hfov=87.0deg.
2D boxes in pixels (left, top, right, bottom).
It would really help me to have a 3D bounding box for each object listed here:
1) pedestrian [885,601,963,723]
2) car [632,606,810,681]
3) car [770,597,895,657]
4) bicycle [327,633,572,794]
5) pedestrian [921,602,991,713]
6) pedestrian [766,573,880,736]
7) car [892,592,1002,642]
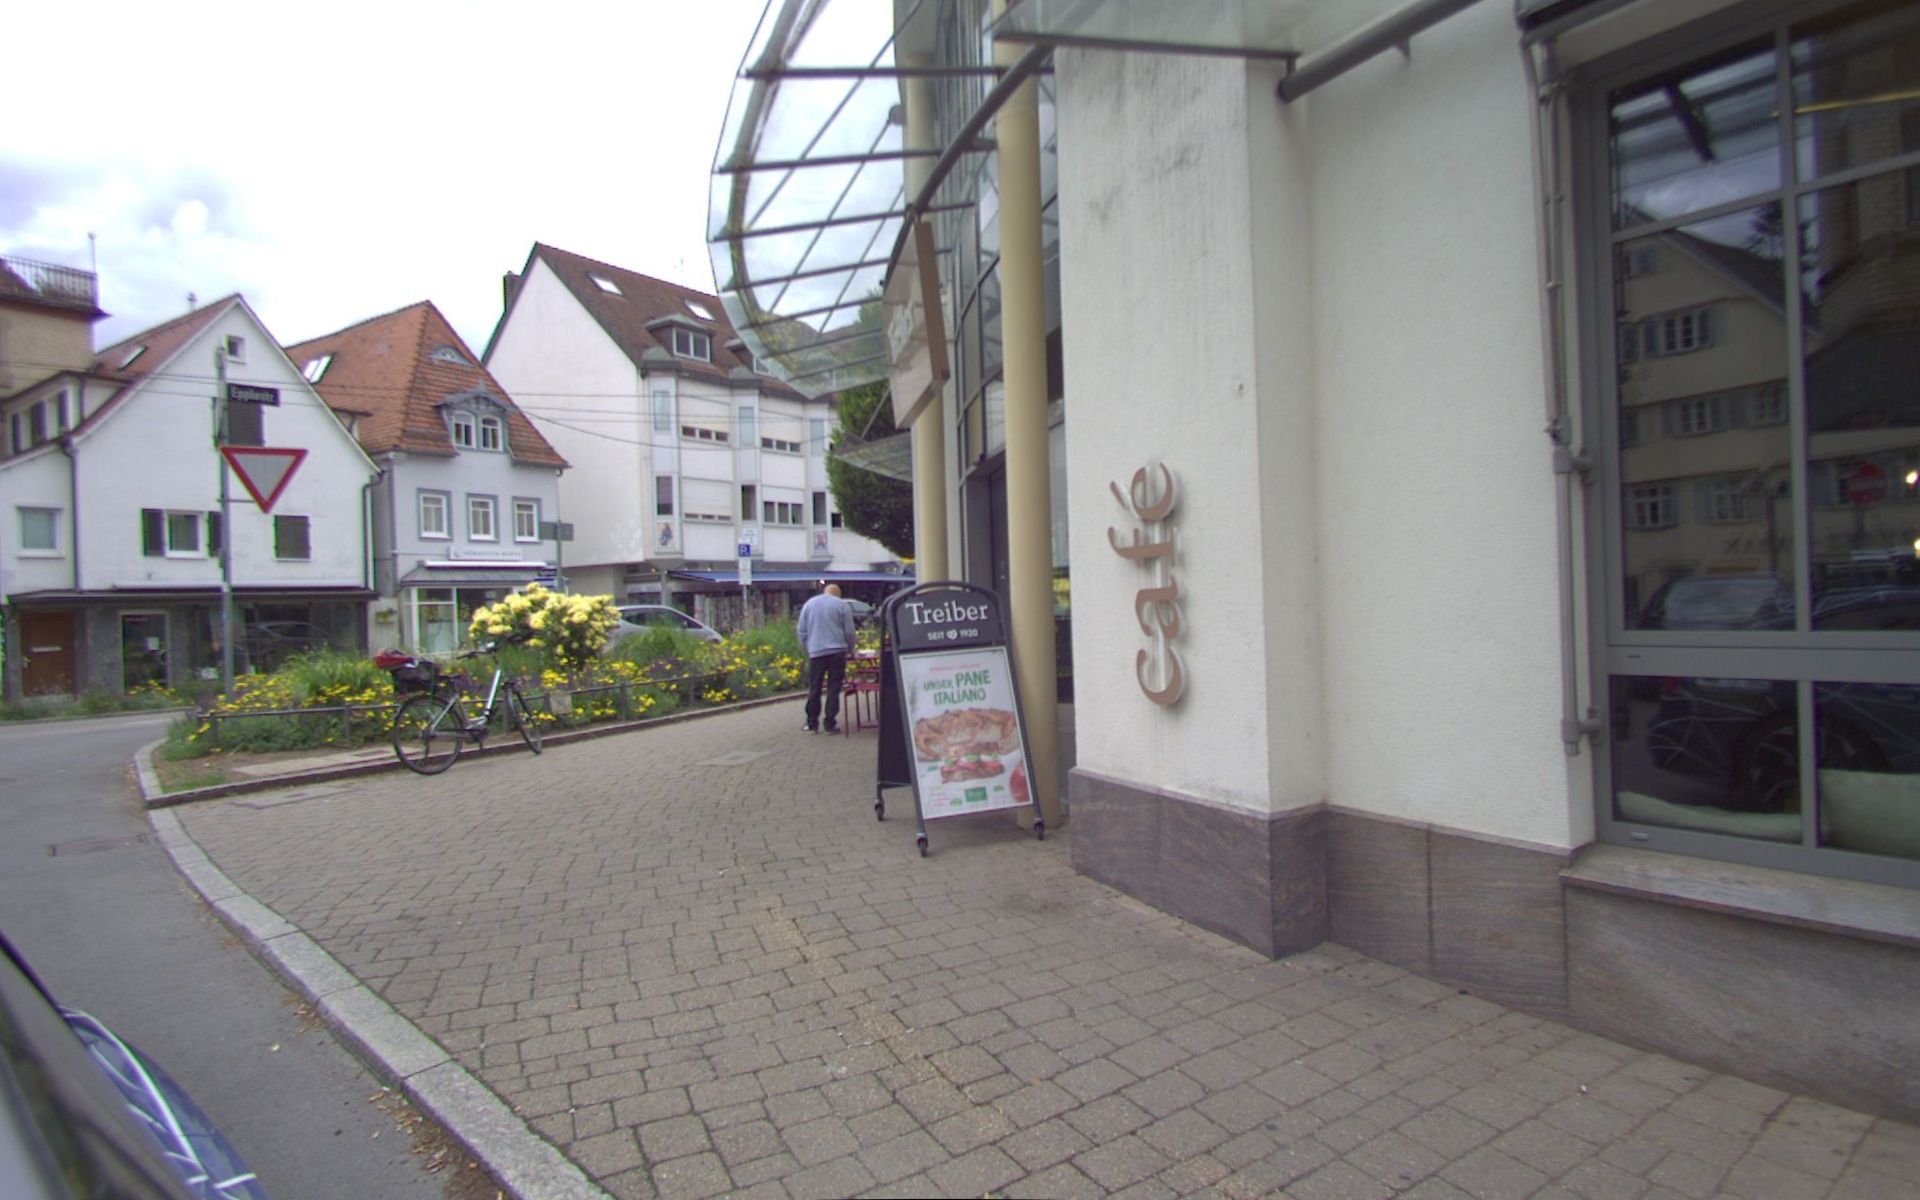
[{"bbox_3d":[-0.407,0.707,11.799,0.689,1.351,0.654,-3,-1,15],"label":"pedestrian"},{"bbox_3d":[-6.077,1.096,25.827,3.934,1.639,1.900,-2,-2,-36],"label":"car"},{"bbox_3d":[-4.317,0.904,34.786,1.997,1.868,3.949,-4,-1,38],"label":"car"},{"bbox_3d":[-4.726,0.995,9.536,0.740,1.249,1.963,-3,0,26],"label":"bicycle"},{"bbox_3d":[-0.046,0.712,12.855,0.678,1.342,0.699,-3,-1,14],"label":"pedestrian"},{"bbox_3d":[-1.358,0.532,10.111,0.859,1.537,0.699,-3,-1,15],"label":"pedestrian"},{"bbox_3d":[-0.446,0.624,39.601,1.996,1.745,4.373,-4,-1,36],"label":"car"}]
